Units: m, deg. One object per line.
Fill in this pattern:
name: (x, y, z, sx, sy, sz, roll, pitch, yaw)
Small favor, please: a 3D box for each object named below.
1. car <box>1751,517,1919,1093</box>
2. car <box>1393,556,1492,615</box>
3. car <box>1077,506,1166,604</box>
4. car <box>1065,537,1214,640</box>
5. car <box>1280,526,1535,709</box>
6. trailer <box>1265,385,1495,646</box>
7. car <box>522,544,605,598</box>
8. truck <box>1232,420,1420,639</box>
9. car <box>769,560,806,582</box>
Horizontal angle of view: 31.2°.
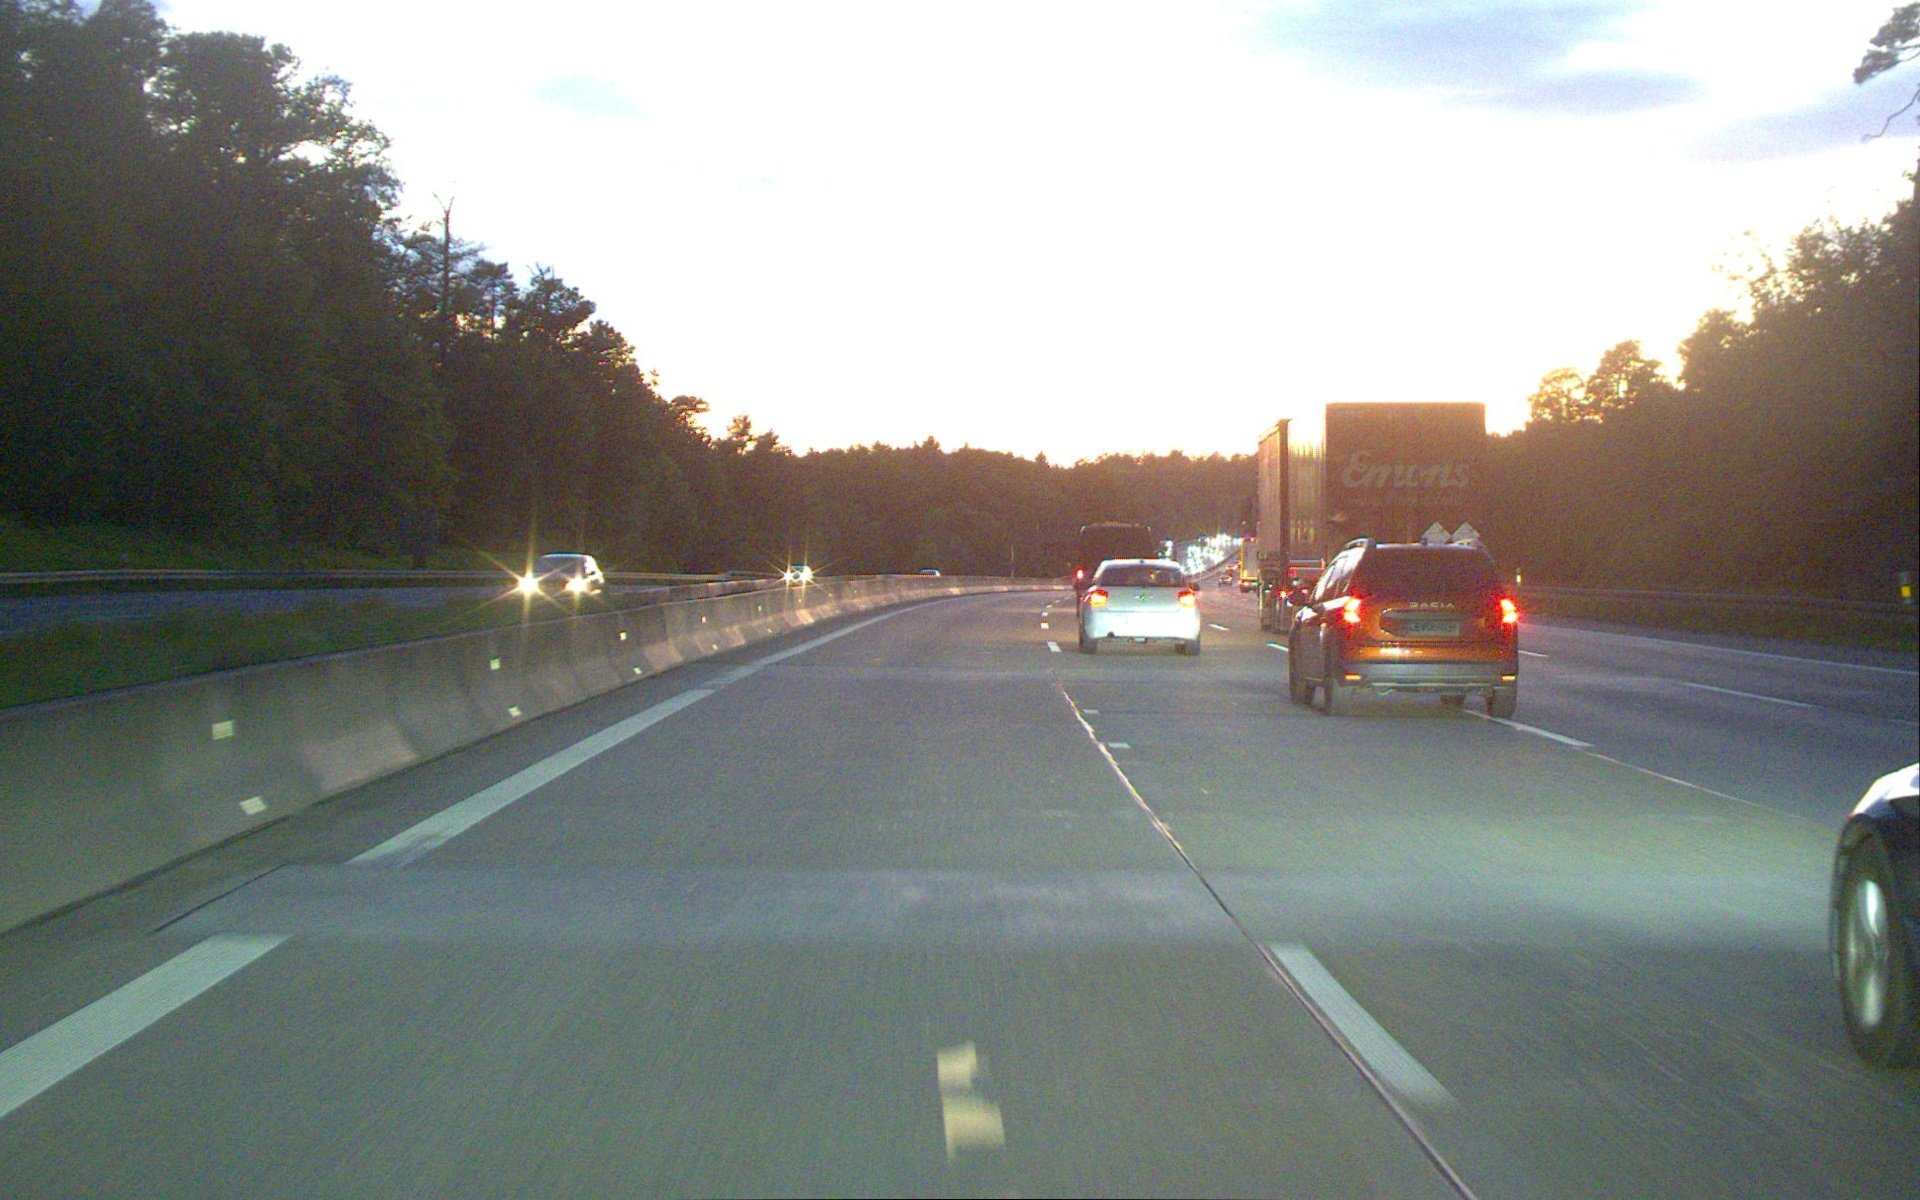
car: (3.563, 0.596, 8.460, 1.909, 1.532, 5.232, 0, 2, -1)
car: (12.122, -0.379, 86.609, 1.859, 1.437, 4.112, 0, 0, -1)
car: (4.128, -1.115, 87.262, 2.166, 2.410, 5.563, 0, 0, 4)
car: (2.694, -0.201, 52.300, 1.859, 1.437, 3.721, 0, 2, -3)
car: (4.257, 0.118, 33.409, 1.903, 1.638, 5.052, 0, 1, 1)
trailer: (7.079, -1.351, 59.386, 2.907, 4.086, 10.357, 1, 0, 1)
car: (-10.379, -0.778, 90.232, 1.619, 1.401, 4.315, 0, 1, 1)
truck: (7.304, -1.345, 69.975, 2.885, 4.086, 10.831, 1, 0, 1)
car: (-12.521, -2.115, 250.014, 1.843, 1.458, 3.998, 2, 1, 10)
